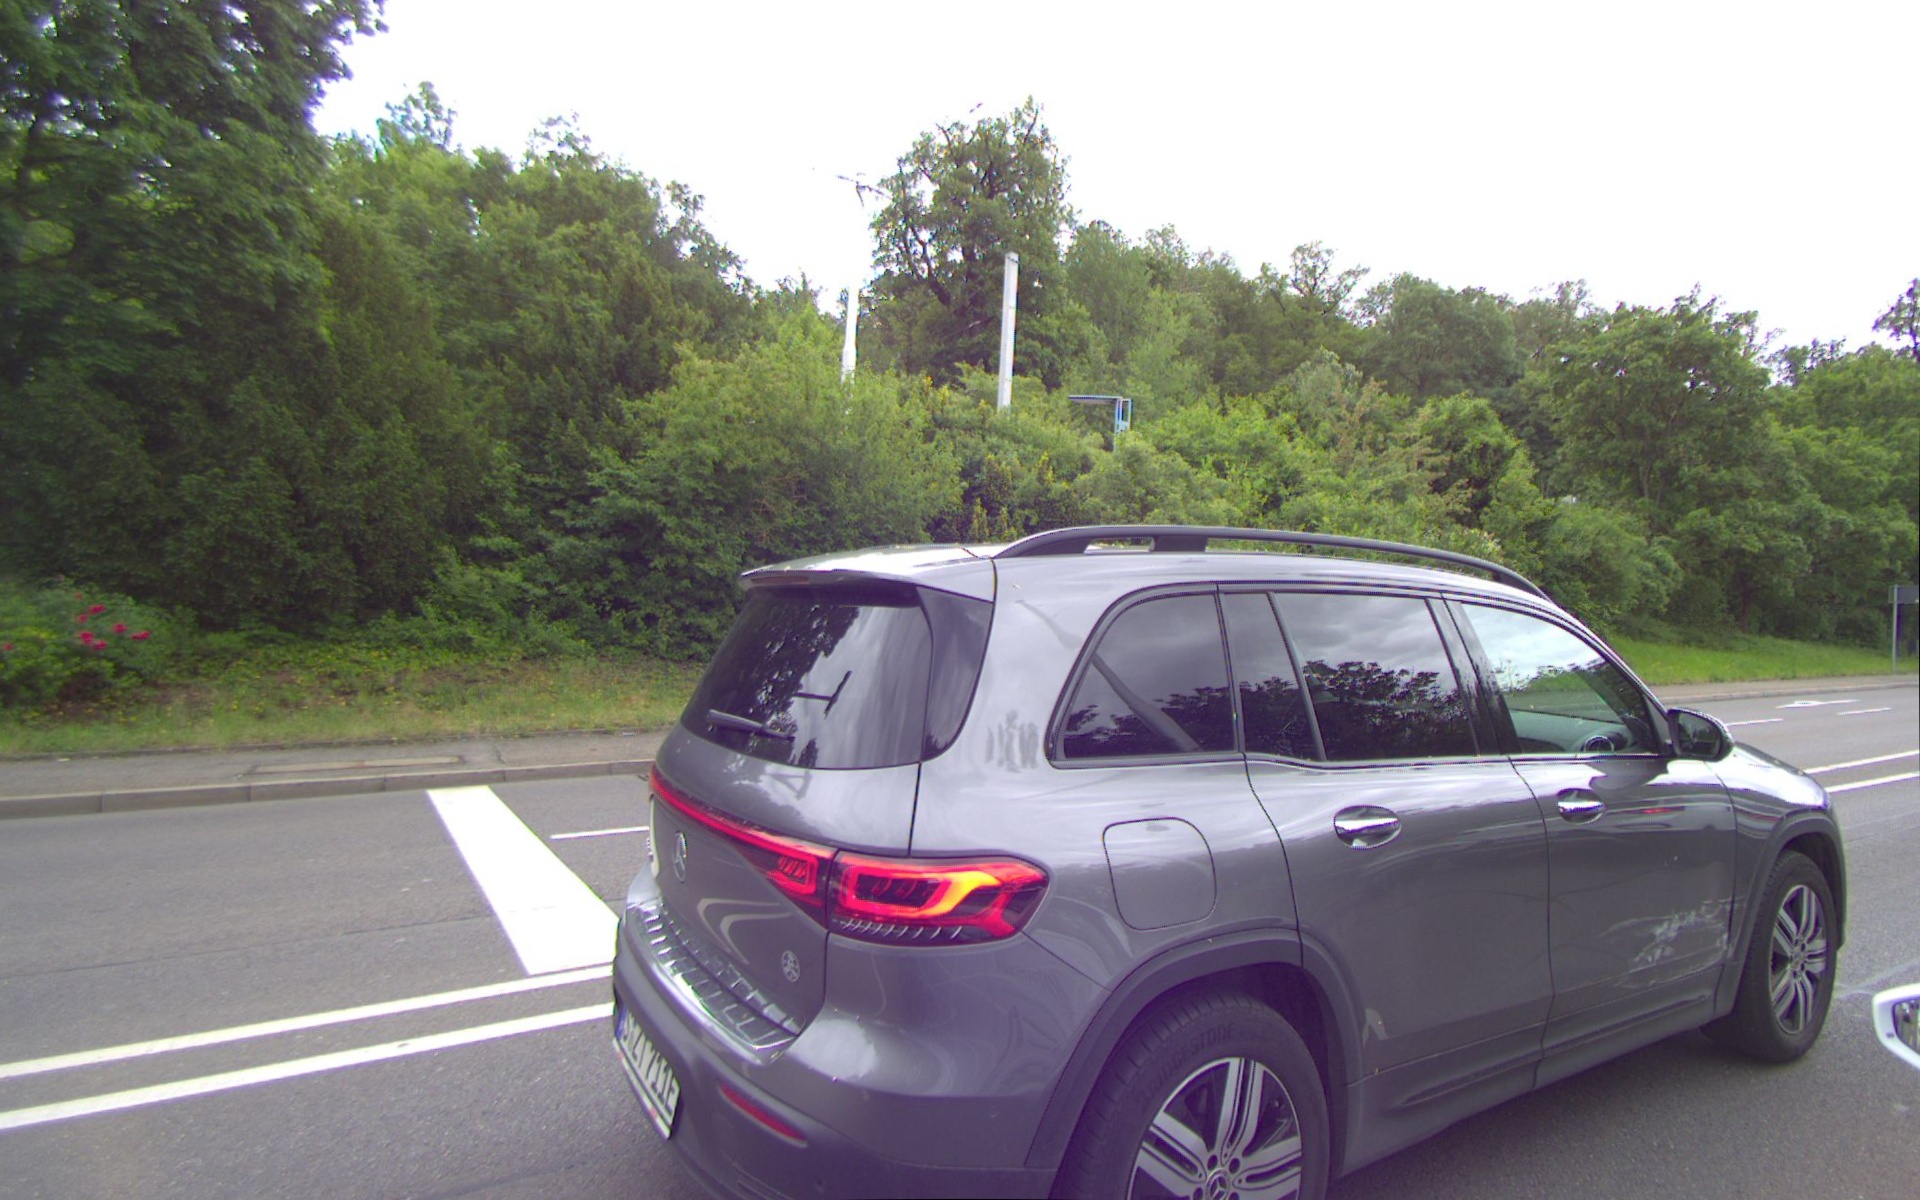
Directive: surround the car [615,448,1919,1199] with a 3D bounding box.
[{"bbox_3d":[1.276,0.670,3.374,4.309,1.673,1.839,2,-1,-32],"label":"car"}]
